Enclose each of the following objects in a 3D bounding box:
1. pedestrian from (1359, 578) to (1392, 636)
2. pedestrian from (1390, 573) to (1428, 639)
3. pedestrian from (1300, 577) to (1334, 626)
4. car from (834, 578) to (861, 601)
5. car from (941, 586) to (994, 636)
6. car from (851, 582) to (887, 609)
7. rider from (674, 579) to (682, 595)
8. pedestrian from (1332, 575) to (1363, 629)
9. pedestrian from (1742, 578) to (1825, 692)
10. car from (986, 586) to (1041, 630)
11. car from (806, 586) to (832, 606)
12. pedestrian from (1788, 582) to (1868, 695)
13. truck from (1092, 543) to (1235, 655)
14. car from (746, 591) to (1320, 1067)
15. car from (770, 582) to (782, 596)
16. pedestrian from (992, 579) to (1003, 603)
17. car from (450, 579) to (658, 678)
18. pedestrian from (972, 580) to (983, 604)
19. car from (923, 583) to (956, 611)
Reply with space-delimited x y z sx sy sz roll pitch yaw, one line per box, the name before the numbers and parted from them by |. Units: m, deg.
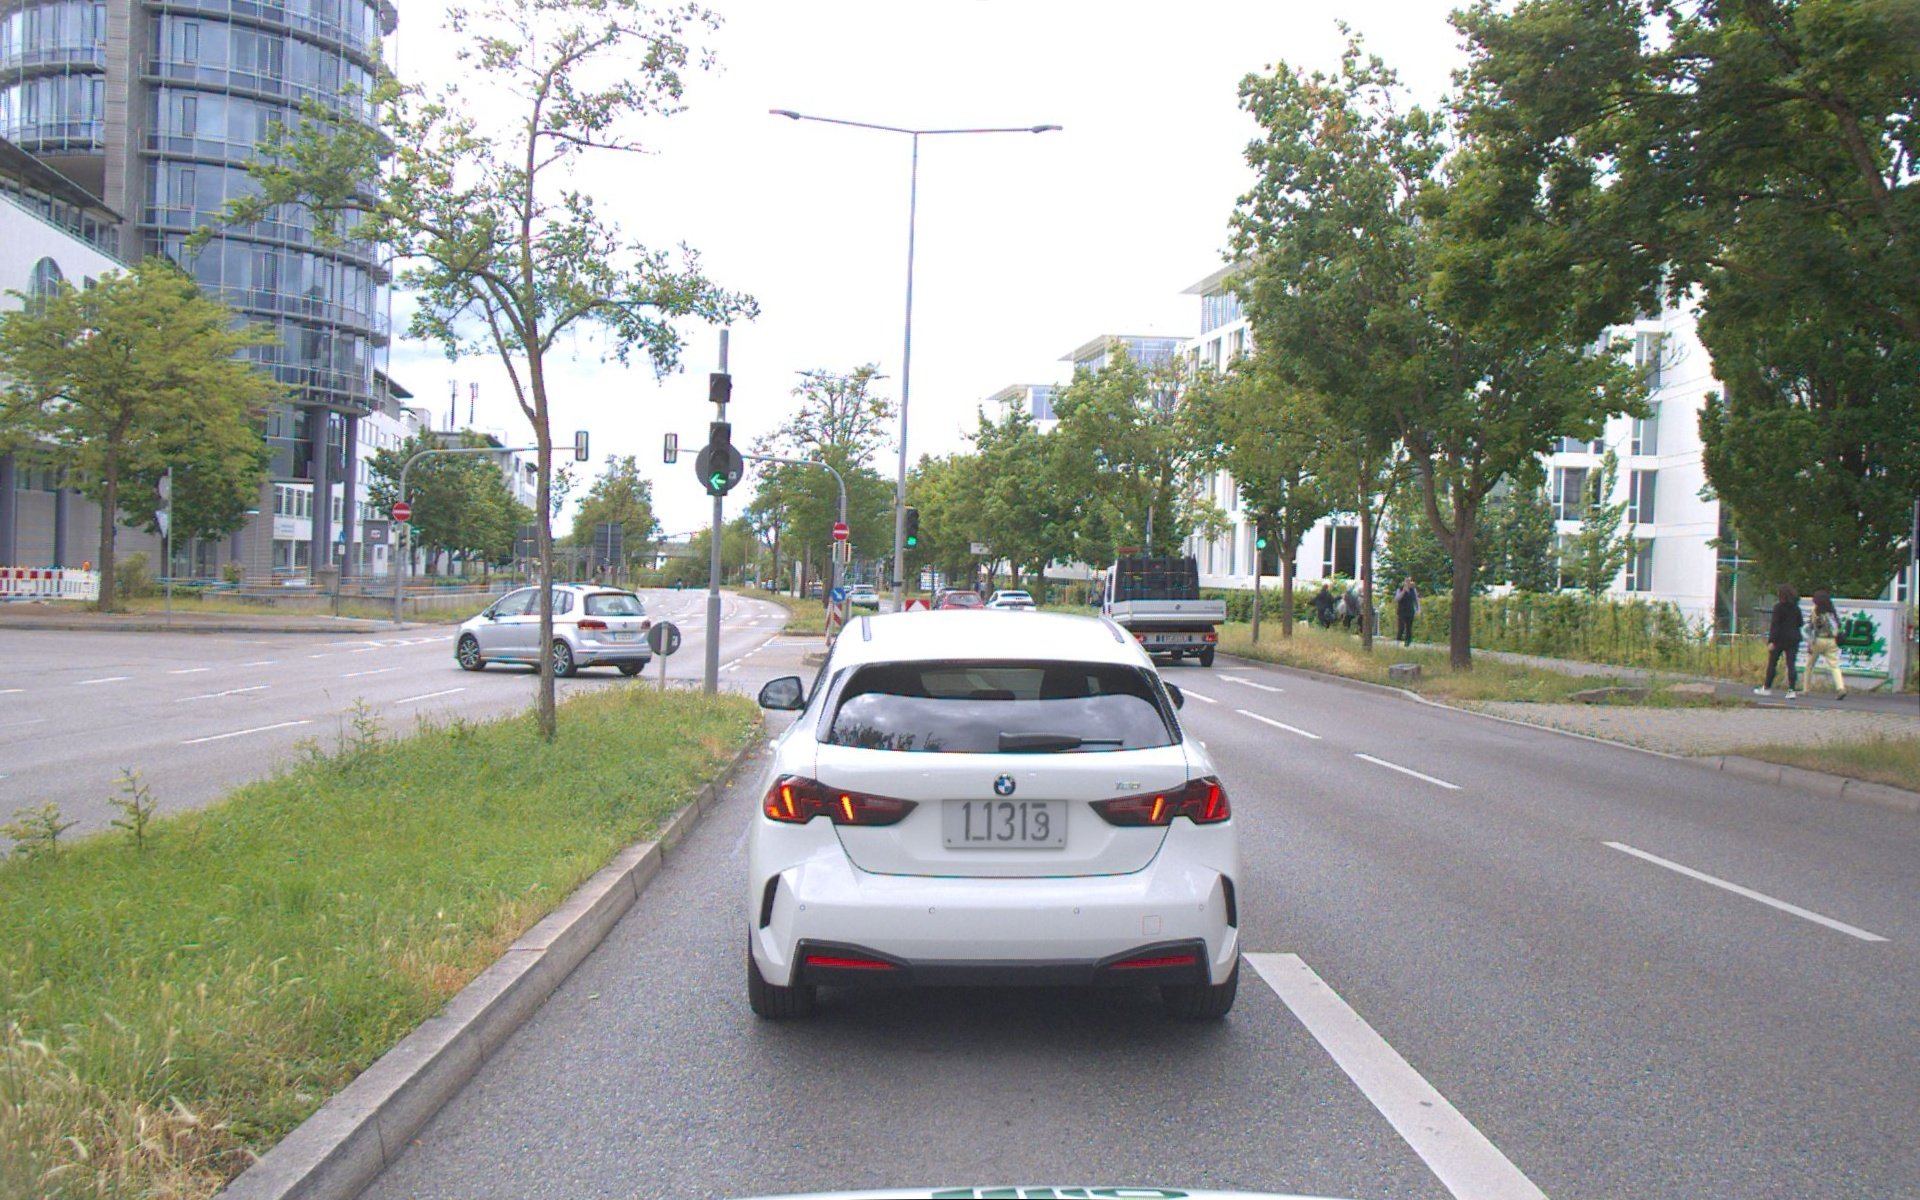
pedestrian | 12.525 0.216 49.856 0.751 1.715 0.883 1 -1 -2
pedestrian | 11.050 0.148 40.759 0.726 1.601 0.674 1 -1 -2
pedestrian | 10.851 0.051 50.296 0.773 1.473 1.111 1 -1 -2
car | -7.712 -0.717 113.302 1.575 1.494 3.669 1 0 -7
car | 0.216 0.350 54.661 1.681 1.585 3.857 0 0 -1
car | -5.508 -0.281 99.818 1.820 1.624 4.306 0 0 -8
rider | -32.655 -1.528 191.687 0.829 1.802 0.807 1 -1 -4
pedestrian | 11.692 0.063 49.916 0.685 1.623 0.883 1 -1 -2
pedestrian | 12.636 0.525 25.404 0.779 1.689 1.060 1 0 5
car | 1.993 0.280 62.958 1.682 1.583 4.086 1 0 -4
car | -11.797 -0.330 138.376 1.856 1.624 4.305 1 0 -8
pedestrian | 13.405 0.578 25.573 0.762 1.689 0.952 1 0 5
truck | 4.371 -0.037 36.573 2.167 2.242 5.841 1 0 -3
car | 0.214 0.721 7.237 1.785 1.463 3.999 1 0 -1
car | -28.184 -1.622 253.958 1.803 2.049 3.994 1 0 -6
pedestrian | 3.264 -0.780 143.166 0.749 2.049 0.751 1 -1 -16
car | -7.310 0.472 29.627 3.924 1.596 1.547 2 0 39
pedestrian | 1.530 -0.674 142.258 0.749 2.049 0.751 1 -1 -16
car | -1.249 -0.150 99.887 1.625 1.539 3.994 1 -2 -6
